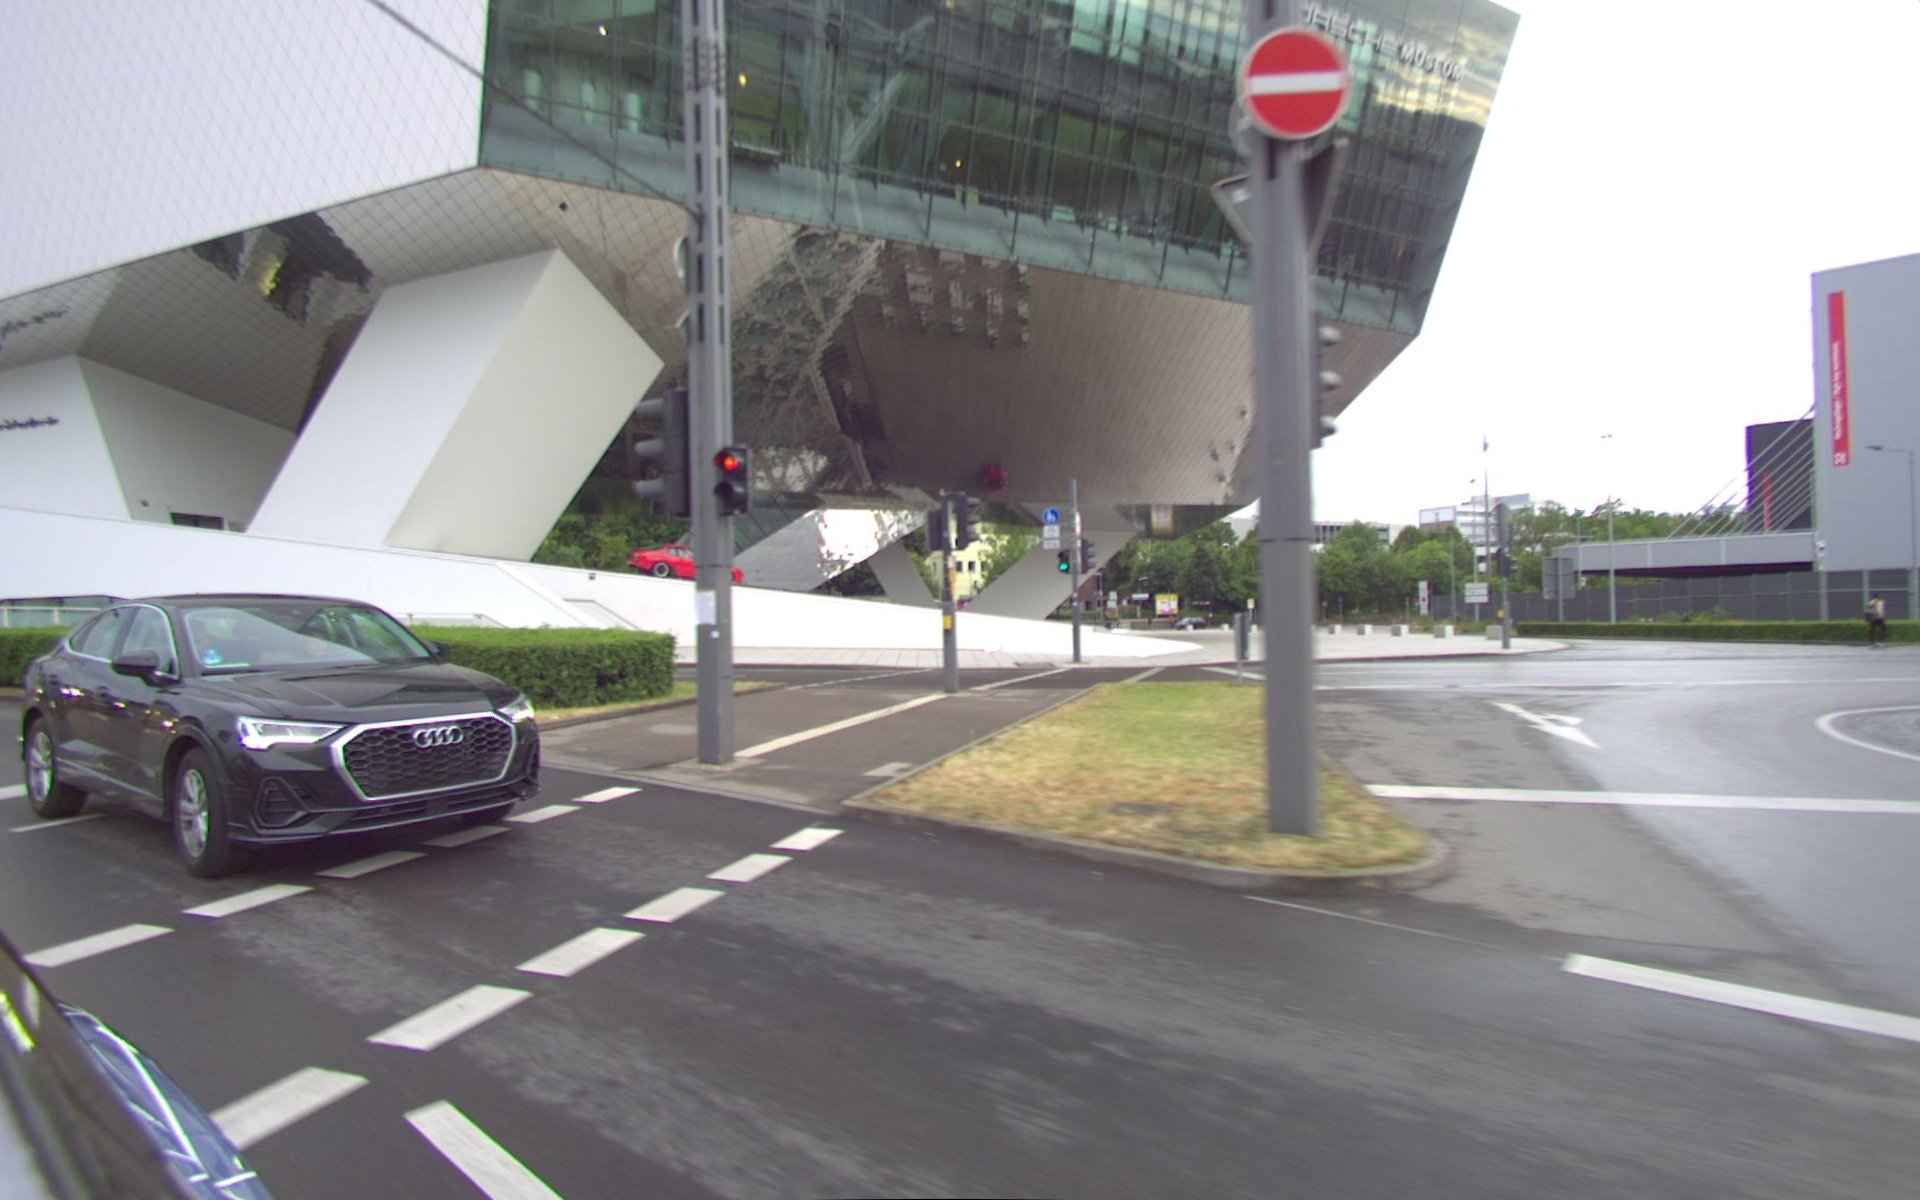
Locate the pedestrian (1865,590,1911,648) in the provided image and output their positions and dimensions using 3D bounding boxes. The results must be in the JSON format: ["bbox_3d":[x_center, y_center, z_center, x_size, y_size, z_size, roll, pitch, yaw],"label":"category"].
[{"bbox_3d":[29.890,0.603,32.601,0.842,1.816,0.648,-1,-1,2],"label":"pedestrian"}]

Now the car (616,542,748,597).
[{"bbox_3d":[-10.208,-1.081,37.224,4.174,1.395,2.006,8,-5,-30],"label":"car"}]

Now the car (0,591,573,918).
[{"bbox_3d":[-4.701,0.717,6.732,4.381,1.529,1.739,1,1,33],"label":"car"}]
